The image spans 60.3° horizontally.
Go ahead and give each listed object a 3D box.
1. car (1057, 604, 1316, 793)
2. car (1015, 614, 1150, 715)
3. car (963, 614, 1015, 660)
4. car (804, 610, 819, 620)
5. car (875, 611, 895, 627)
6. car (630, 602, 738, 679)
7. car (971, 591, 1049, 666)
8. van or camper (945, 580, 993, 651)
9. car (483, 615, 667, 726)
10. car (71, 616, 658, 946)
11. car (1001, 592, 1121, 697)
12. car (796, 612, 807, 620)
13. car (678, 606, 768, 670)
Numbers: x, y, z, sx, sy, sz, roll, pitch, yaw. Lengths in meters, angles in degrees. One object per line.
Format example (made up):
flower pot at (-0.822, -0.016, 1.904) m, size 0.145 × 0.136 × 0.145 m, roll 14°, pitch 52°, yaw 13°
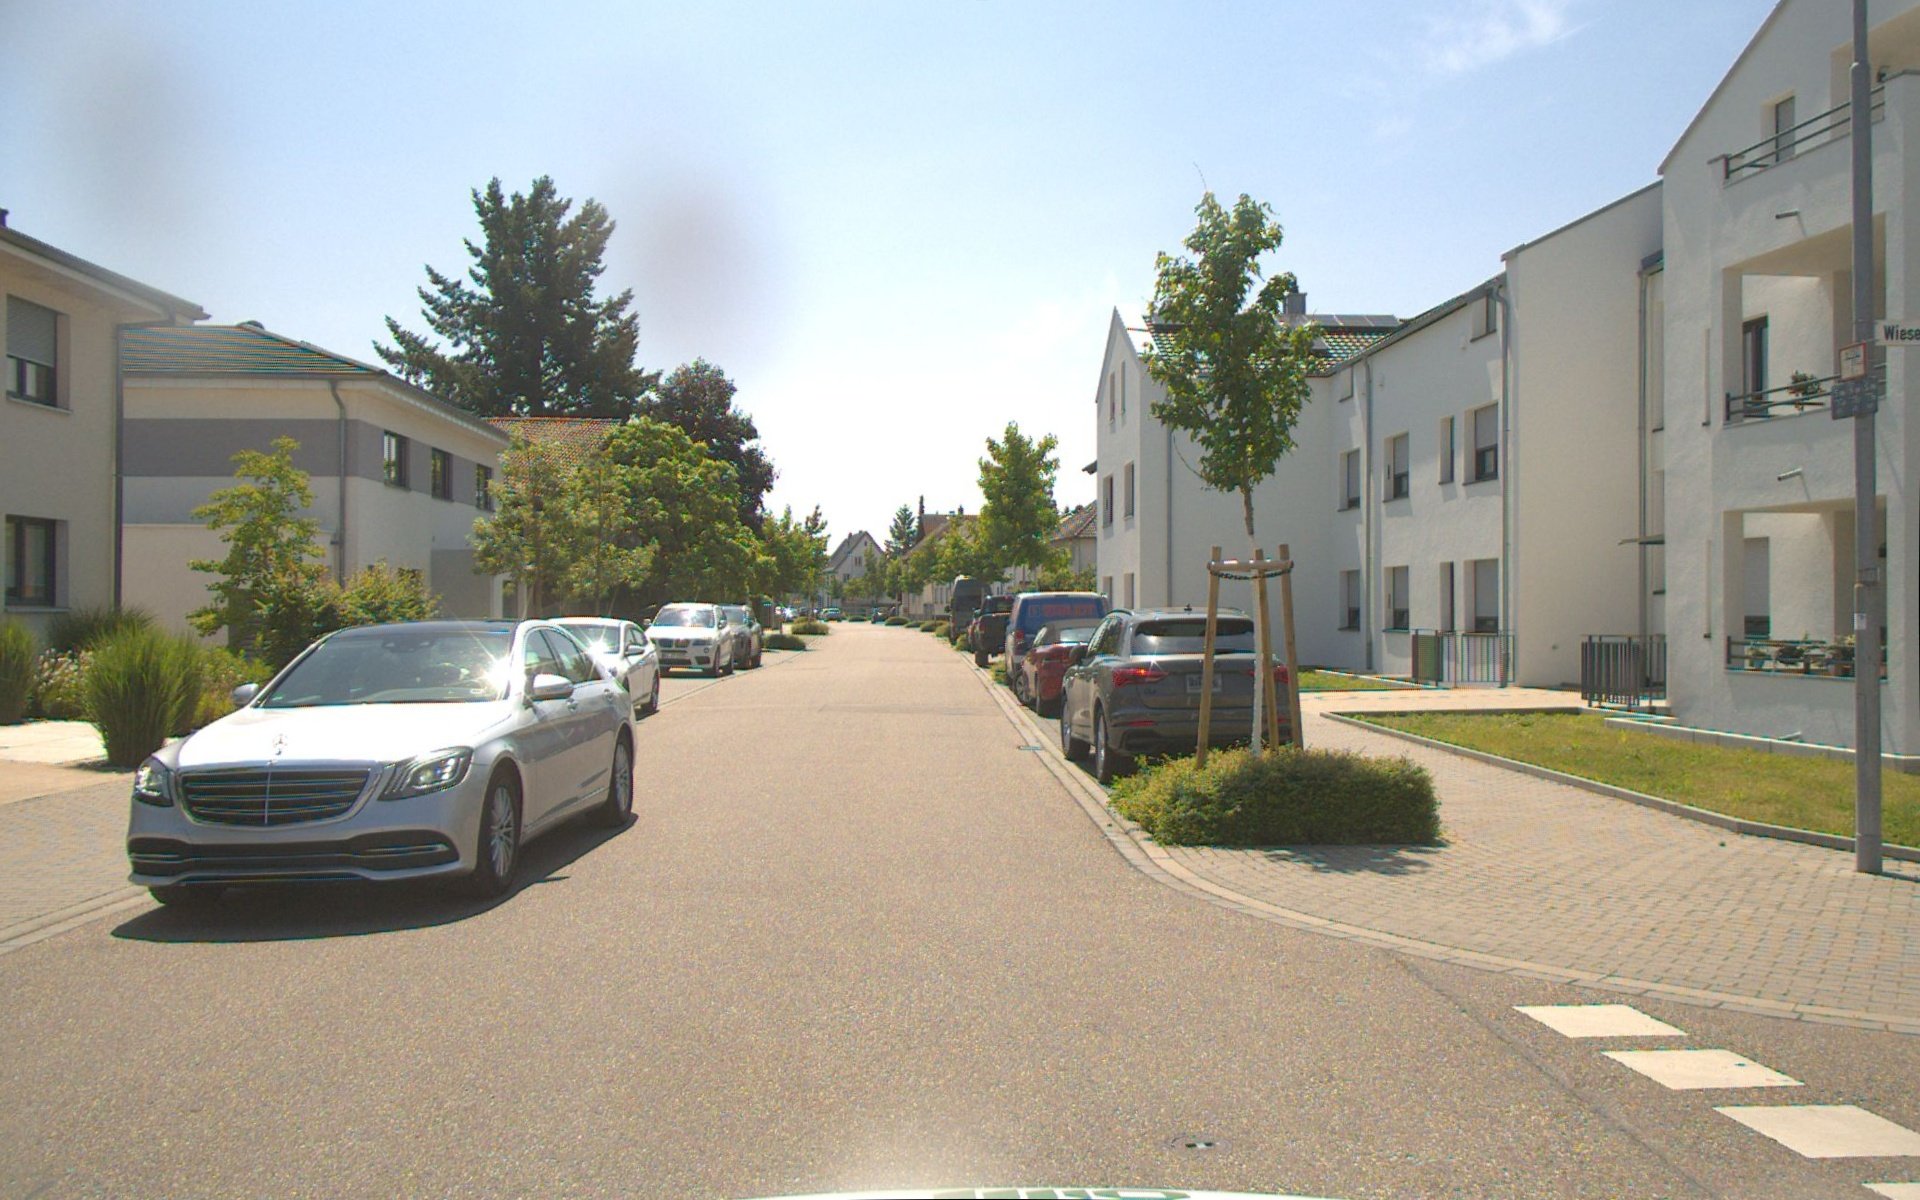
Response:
car at (2.094, 0.866, 16.472) m, size 1.738 × 1.623 × 4.276 m, roll 0°, pitch 0°, yaw -4°
car at (1.886, 0.970, 26.557) m, size 1.646 × 1.467 × 4.024 m, roll 0°, pitch 0°, yaw -4°
car at (1.052, 1.359, 61.280) m, size 1.637 × 1.623 × 3.553 m, roll -1°, pitch -1°, yaw -4°
car at (-20.317, 2.050, 226.310) m, size 1.634 × 1.272 × 3.919 m, roll 0°, pitch 0°, yaw -12°
car at (-7.542, 1.879, 166.273) m, size 1.953 × 1.601 × 3.999 m, roll -1°, pitch 0°, yaw -1°
car at (-6.512, 0.932, 39.481) m, size 1.888 × 1.716 × 4.497 m, roll 0°, pitch 0°, yaw -1°
car at (1.371, 0.787, 47.320) m, size 1.953 × 1.981 × 5.213 m, roll -1°, pitch 0°, yaw -1°
van or camper at (0.361, 0.668, 72.156) m, size 1.953 × 2.993 × 3.998 m, roll 0°, pitch -1°, yaw -2°
car at (-5.650, 0.985, 24.807) m, size 1.814 × 1.514 × 4.384 m, roll 0°, pitch 0°, yaw -1°
car at (-3.282, 0.889, 10.264) m, size 1.814 × 1.504 × 4.700 m, roll -2°, pitch -1°, yaw 1°
car at (1.933, 0.840, 32.966) m, size 2.056 × 1.915 × 4.842 m, roll 0°, pitch -1°, yaw 0°
car at (-22.545, 2.243, 235.226) m, size 1.167 × 1.089 × 3.045 m, roll 0°, pitch 0°, yaw -10°
car at (-6.550, 1.022, 46.099) m, size 1.953 × 1.710 × 4.213 m, roll 0°, pitch 0°, yaw -1°
